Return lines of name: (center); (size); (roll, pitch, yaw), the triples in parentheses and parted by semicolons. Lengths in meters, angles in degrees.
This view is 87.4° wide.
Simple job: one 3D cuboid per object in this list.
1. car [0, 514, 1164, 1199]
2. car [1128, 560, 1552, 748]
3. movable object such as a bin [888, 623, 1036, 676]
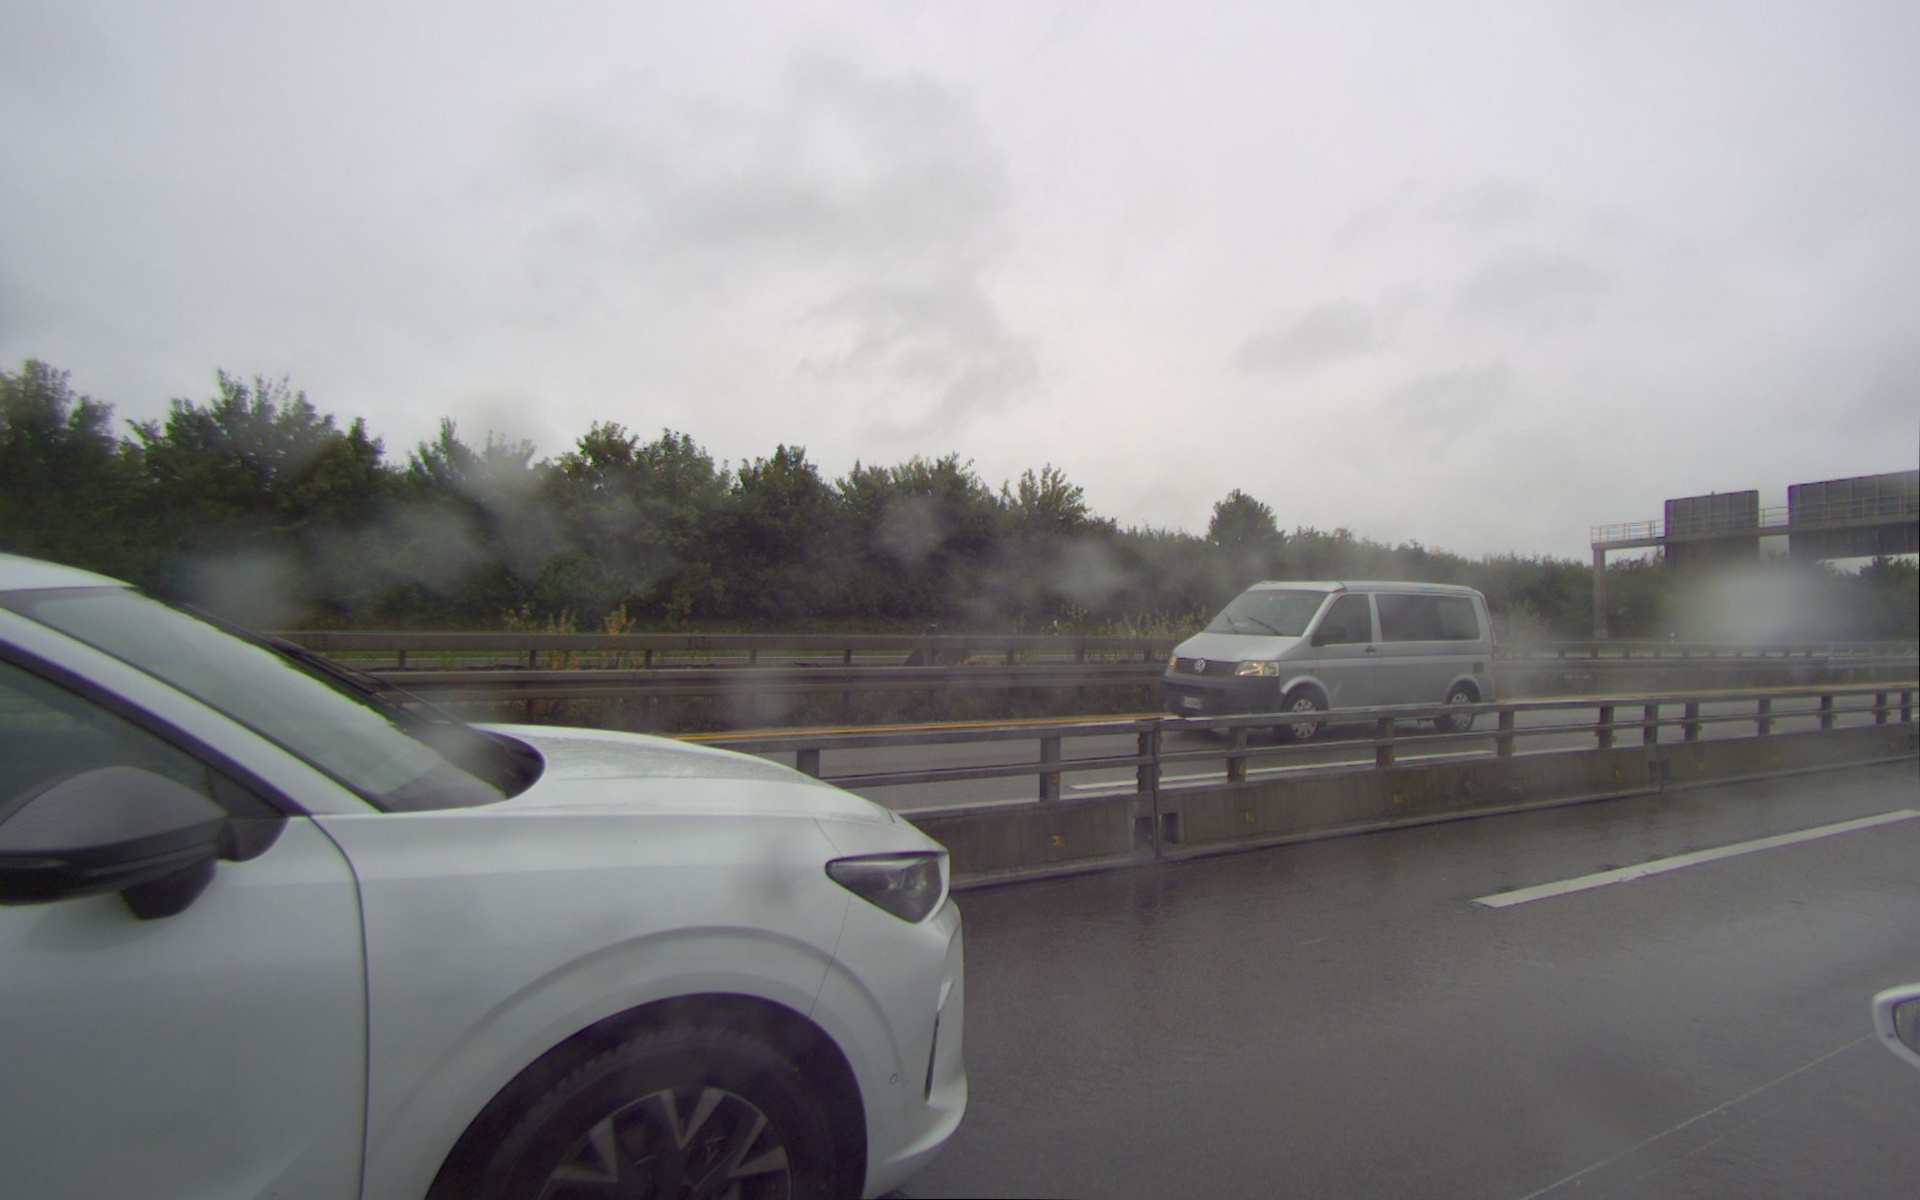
car: (-2.184, 0.651, 1.825); (4.946, 1.571, 1.919); (2, 0, -29)
car: (5.087, 0.675, 13.120); (5.758, 2.040, 1.900); (2, 0, -30)
movable object such as a bin: (0.068, 1.517, 30.642); (3.953, 1.444, 2.116); (2, 0, -30)
